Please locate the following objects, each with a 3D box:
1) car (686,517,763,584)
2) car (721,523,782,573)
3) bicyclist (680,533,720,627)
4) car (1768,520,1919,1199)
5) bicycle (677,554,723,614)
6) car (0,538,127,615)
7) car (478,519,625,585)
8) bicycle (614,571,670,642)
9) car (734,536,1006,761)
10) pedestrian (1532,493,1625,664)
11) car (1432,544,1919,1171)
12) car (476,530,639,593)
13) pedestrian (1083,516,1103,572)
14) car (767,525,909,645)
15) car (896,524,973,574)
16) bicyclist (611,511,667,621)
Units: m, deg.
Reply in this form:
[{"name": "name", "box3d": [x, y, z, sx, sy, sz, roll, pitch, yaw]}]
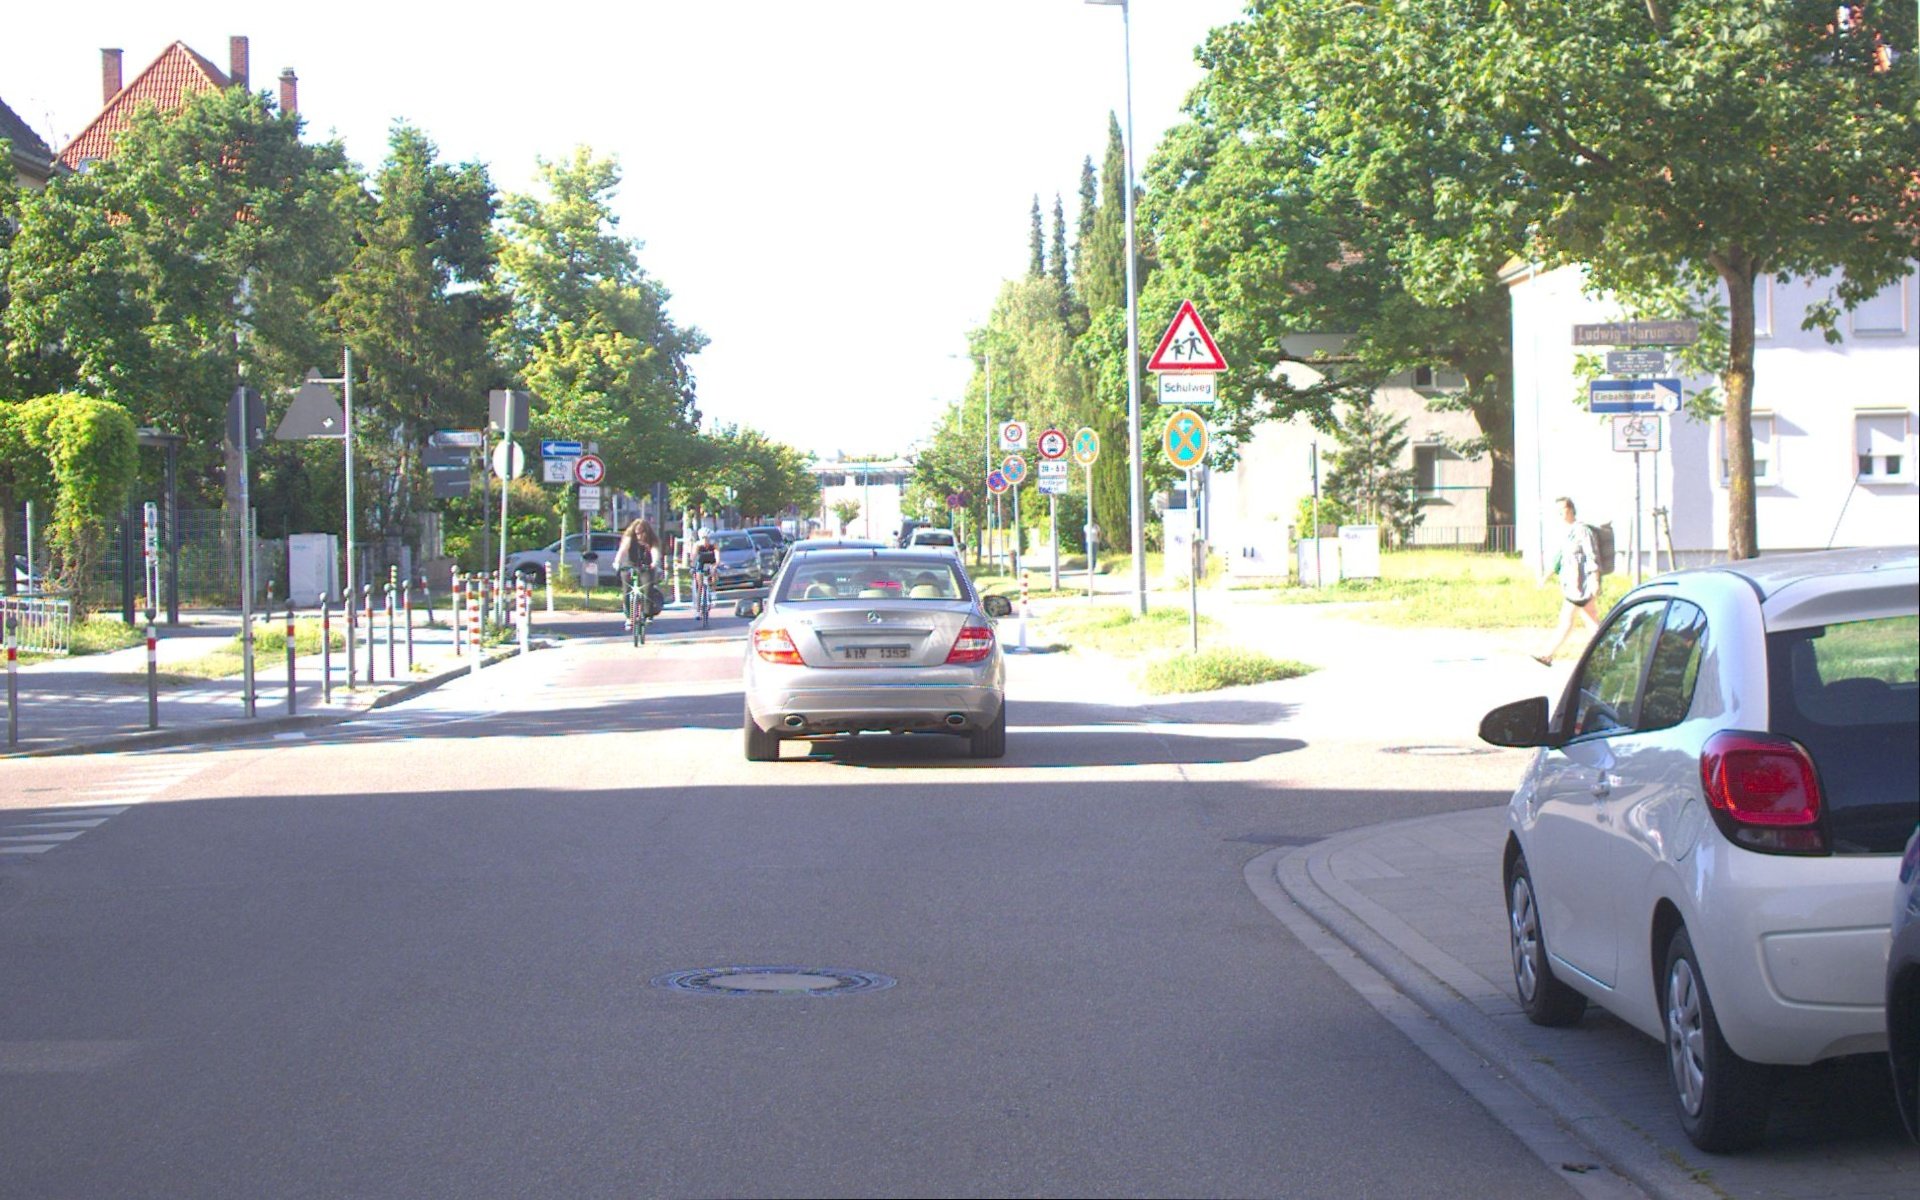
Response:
[{"name": "car", "box3d": [-6.306, -1.329, 91.664, 1.872, 1.722, 4.001, -1, 1, -6]}, {"name": "car", "box3d": [-6.708, -1.683, 110.271, 1.786, 1.527, 4.001, -1, 1, -6]}, {"name": "bicyclist", "box3d": [-4.223, -0.331, 55.920, 0.572, 1.504, 0.655, -1, 1, 0]}, {"name": "car", "box3d": [2.663, 0.495, 5.201, 1.682, 1.430, 4.266, -5, 0, -1]}, {"name": "bicycle", "box3d": [-4.228, -0.268, 55.905, 0.589, 0.928, 1.850, -1, 1, 0]}, {"name": "car", "box3d": [-17.833, -0.454, 64.524, 3.986, 1.371, 2.000, 1, 0, -4]}, {"name": "car", "box3d": [-9.894, -1.160, 83.209, 3.493, 1.528, 1.645, -1, 1, -8]}, {"name": "bicycle", "box3d": [-4.405, 0.086, 47.674, 0.589, 0.928, 1.850, -1, 1, 0]}, {"name": "car", "box3d": [-0.589, 0.311, 24.074, 1.726, 1.415, 3.960, 1, 0, 0]}, {"name": "pedestrian", "box3d": [5.922, -0.209, 32.918, 0.647, 1.617, 0.616, 0, 1, 37]}, {"name": "car", "box3d": [2.469, 0.581, 9.993, 1.564, 1.406, 3.730, -5, 0, 0]}, {"name": "car", "box3d": [-10.147, -0.965, 86.855, 3.986, 1.518, 1.757, 1, 0, -3]}, {"name": "pedestrian", "box3d": [3.763, -1.583, 97.222, 0.509, 1.554, 0.643, 1, 0, 0]}, {"name": "car", "box3d": [-1.571, -0.185, 44.322, 1.707, 1.443, 4.203, 1, 0, -2]}, {"name": "car", "box3d": [-0.726, -1.410, 94.426, 1.722, 1.325, 4.001, -1, 1, -6]}, {"name": "bicyclist", "box3d": [-4.450, -0.472, 47.655, 0.680, 1.504, 0.655, -1, 1, 0]}]
